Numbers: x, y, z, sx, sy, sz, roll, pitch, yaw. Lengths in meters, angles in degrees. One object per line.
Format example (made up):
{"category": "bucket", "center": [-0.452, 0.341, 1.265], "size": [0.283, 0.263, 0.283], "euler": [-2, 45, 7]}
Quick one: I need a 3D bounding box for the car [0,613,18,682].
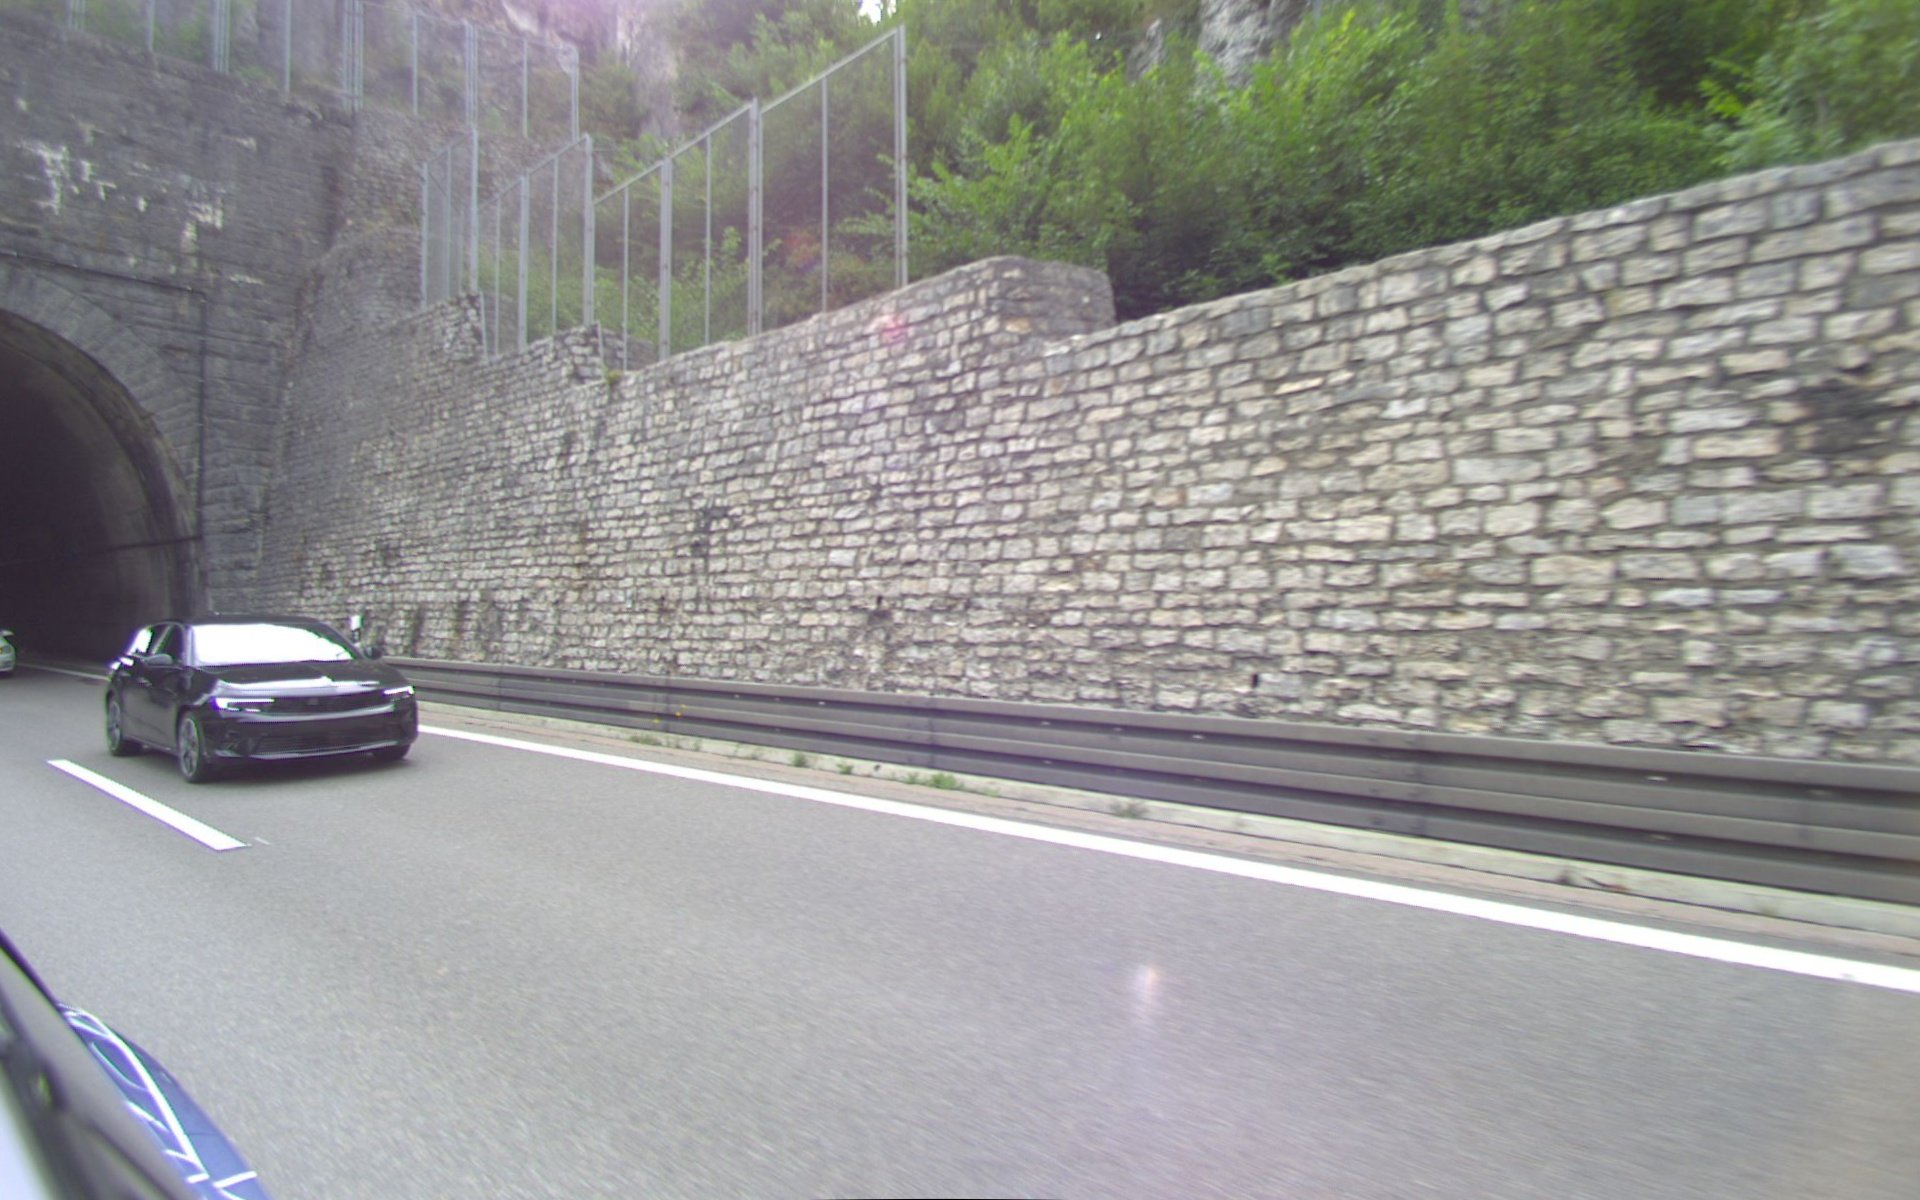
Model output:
{"category": "car", "center": [-22.963, 1.045, 22.898], "size": [4.623, 1.493, 1.827], "euler": [-1, -1, 39]}

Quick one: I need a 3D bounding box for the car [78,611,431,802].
{"category": "car", "center": [-7.202, 0.893, 10.135], "size": [4.577, 1.472, 1.755], "euler": [-1, 0, 40]}
